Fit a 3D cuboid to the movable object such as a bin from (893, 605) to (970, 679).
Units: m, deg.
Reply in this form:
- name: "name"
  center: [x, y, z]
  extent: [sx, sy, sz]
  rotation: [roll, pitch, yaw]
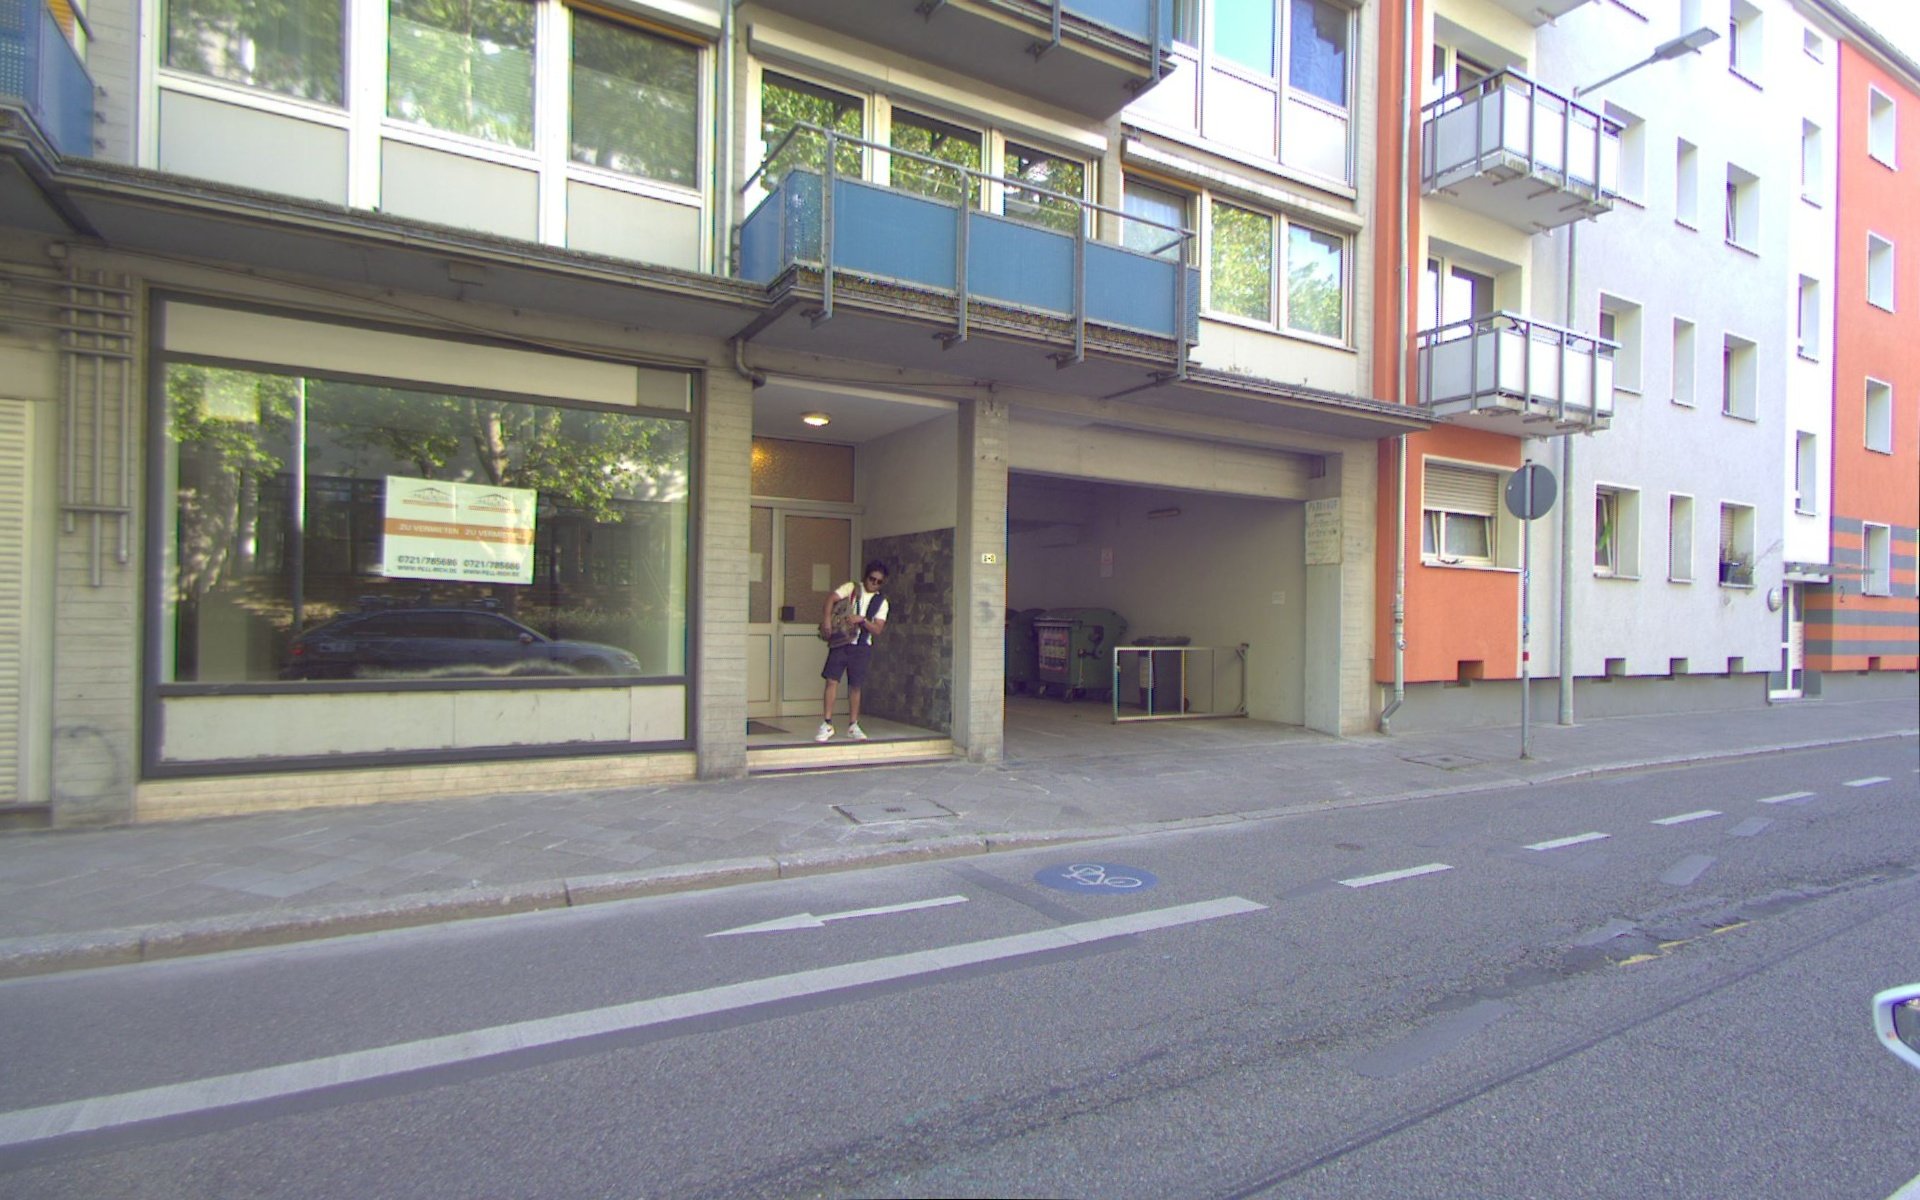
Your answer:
- name: "movable object such as a bin"
  center: [-0.567, 0.813, 19.864]
  extent: [1.066, 1.384, 1.255]
  rotation: [2, 0, -27]

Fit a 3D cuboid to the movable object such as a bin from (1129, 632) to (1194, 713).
- name: "movable object such as a bin"
  center: [2.894, 1.027, 14.461]
  extent: [0.650, 1.115, 0.626]
  rotation: [2, 0, -27]

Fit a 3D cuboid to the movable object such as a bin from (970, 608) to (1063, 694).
- name: "movable object such as a bin"
  center: [0.952, 0.846, 17.126]
  extent: [1.066, 1.384, 1.255]
  rotation: [2, 0, -27]

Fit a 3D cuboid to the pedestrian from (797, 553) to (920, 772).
- name: "pedestrian"
  center: [-0.943, 0.554, 9.254]
  extent: [0.882, 1.902, 0.703]
  rotation: [2, 0, -28]

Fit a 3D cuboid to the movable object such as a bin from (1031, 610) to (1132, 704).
- name: "movable object such as a bin"
  center: [1.894, 0.868, 15.812]
  extent: [1.066, 1.384, 1.192]
  rotation: [2, 0, -27]

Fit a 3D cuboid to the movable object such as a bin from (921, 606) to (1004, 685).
- name: "movable object such as a bin"
  center: [0.041, 0.826, 18.695]
  extent: [1.066, 1.384, 1.255]
  rotation: [2, 0, -27]
